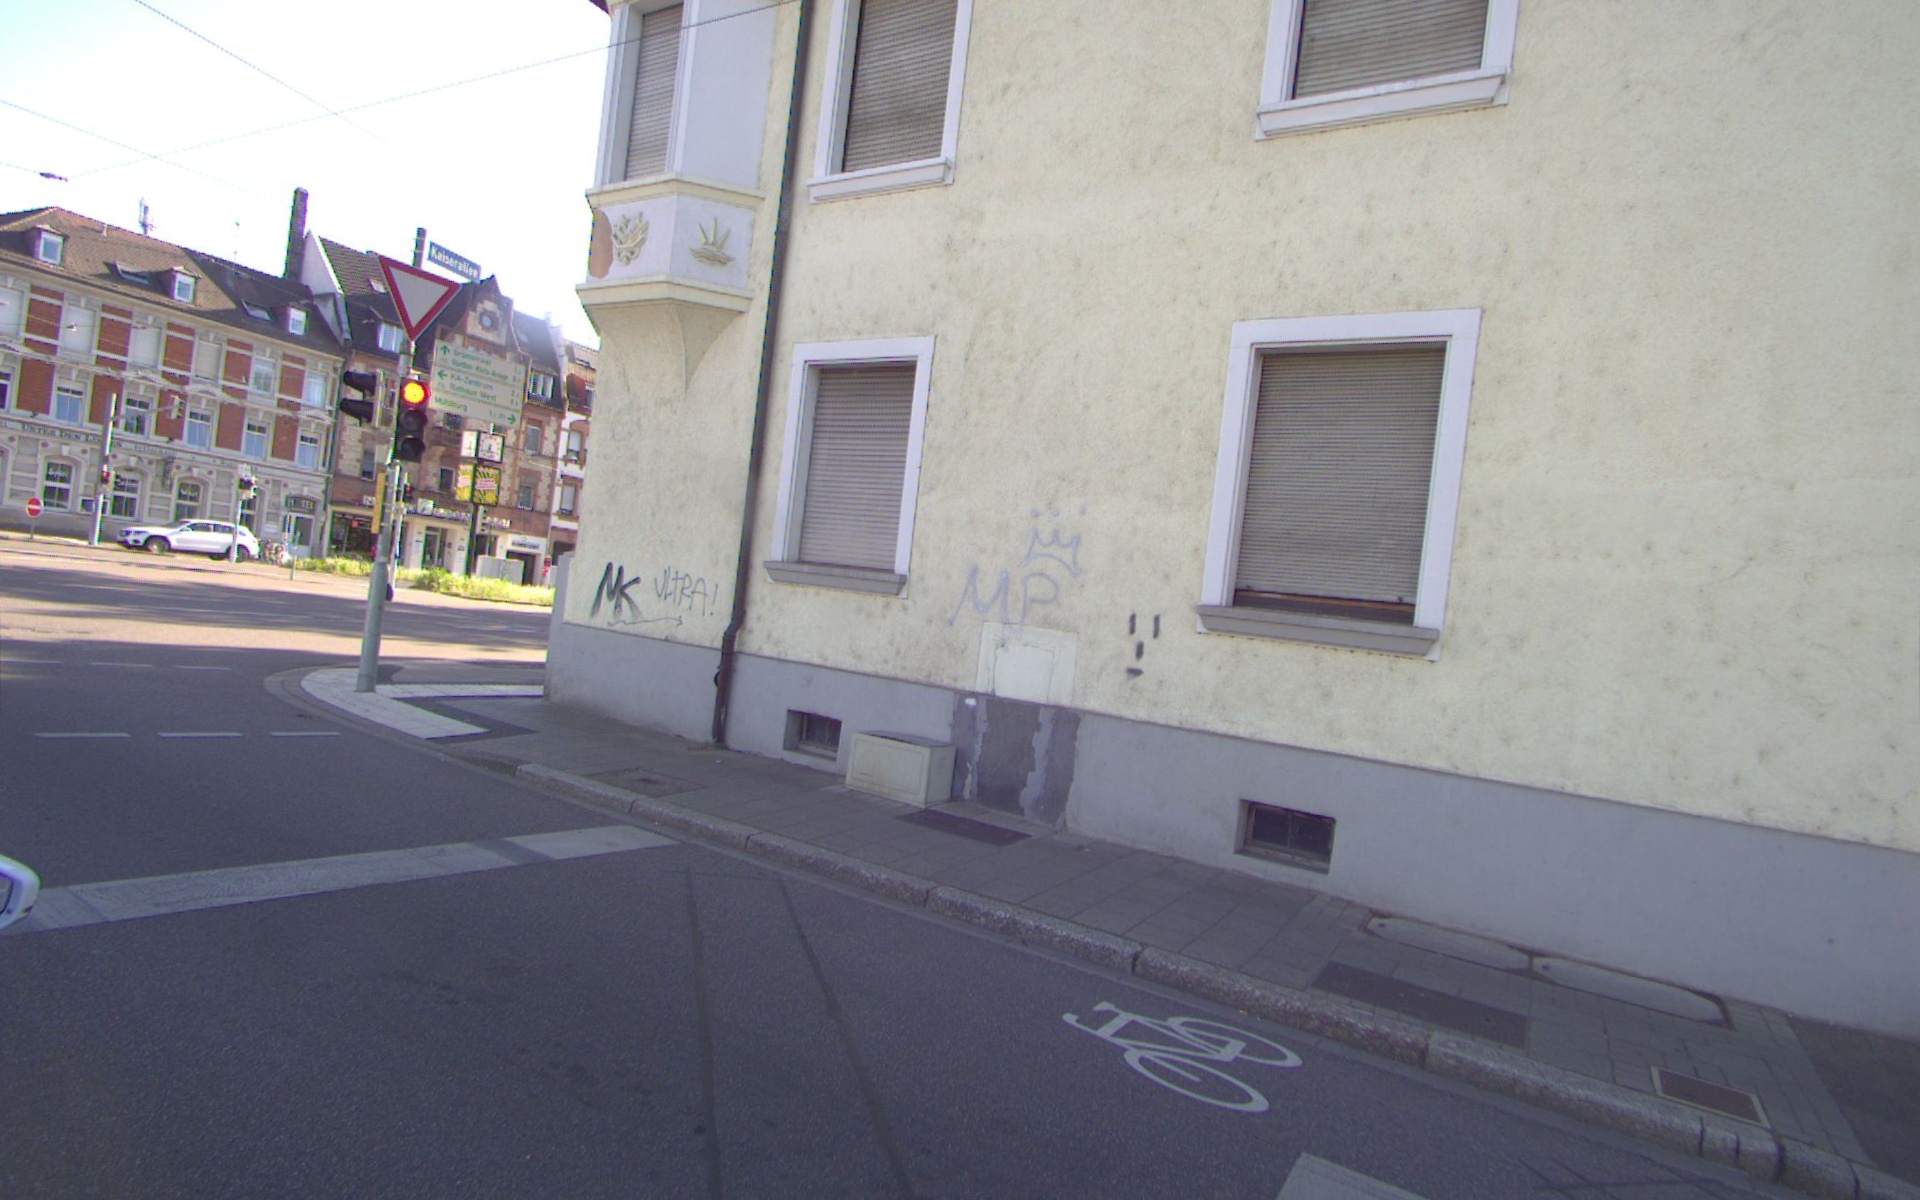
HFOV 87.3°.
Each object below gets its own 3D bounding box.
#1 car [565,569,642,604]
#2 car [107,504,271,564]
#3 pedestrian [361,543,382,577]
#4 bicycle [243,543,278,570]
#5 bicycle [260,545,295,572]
[{"bbox_3d":[-23.112,-0.858,65.299,1.966,1.674,4.378,7,-1,29],"label":"car"},{"bbox_3d":[-31.525,-2.666,41.320,1.965,1.680,4.861,7,-1,26],"label":"car"},{"bbox_3d":[-32.349,-2.207,55.273,0.414,1.773,0.709,7,0,33],"label":"pedestrian"},{"bbox_3d":[-33.345,-2.085,47.942,1.614,1.064,0.606,7,0,27],"label":"bicycle"},{"bbox_3d":[-32.971,-2.010,48.579,1.614,1.064,0.606,7,0,27],"label":"bicycle"}]
